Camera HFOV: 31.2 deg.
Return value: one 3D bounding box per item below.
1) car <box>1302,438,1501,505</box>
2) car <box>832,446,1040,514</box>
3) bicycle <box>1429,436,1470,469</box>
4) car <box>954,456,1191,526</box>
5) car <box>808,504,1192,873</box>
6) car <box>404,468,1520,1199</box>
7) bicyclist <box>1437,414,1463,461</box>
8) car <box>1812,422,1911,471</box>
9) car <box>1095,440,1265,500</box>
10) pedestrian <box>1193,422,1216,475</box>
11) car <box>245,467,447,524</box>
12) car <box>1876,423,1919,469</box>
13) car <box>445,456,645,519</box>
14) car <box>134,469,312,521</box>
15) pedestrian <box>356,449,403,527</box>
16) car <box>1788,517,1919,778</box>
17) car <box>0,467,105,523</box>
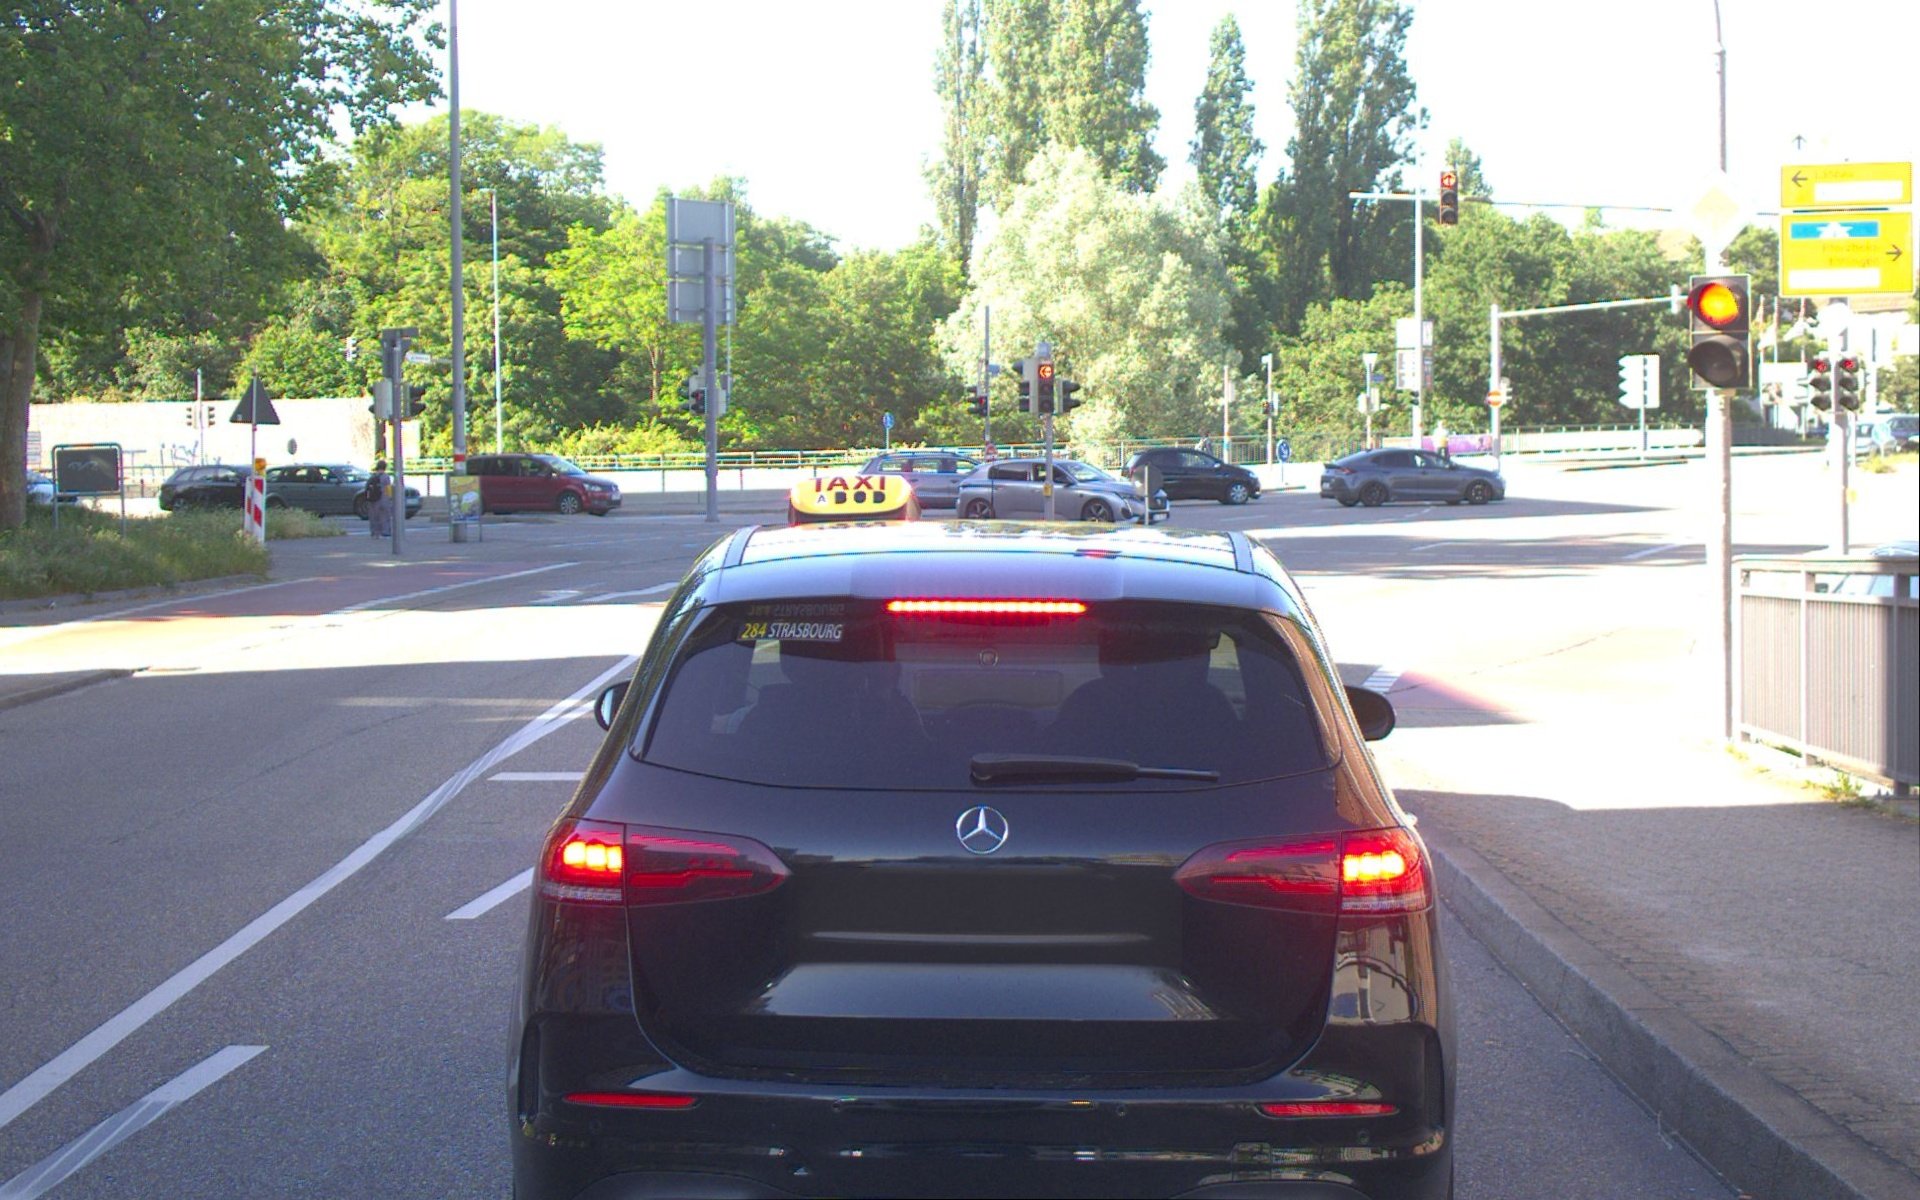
[{"bbox_3d":[10.475,-3.066,81.703,4.280,1.436,2.001,-2,3,-8],"label":"car"},{"bbox_3d":[-0.563,-2.830,80.841,4.807,1.436,2.000,-1,3,-1],"label":"car"},{"bbox_3d":[16.244,-4.905,114.081,0.526,1.046,1.986,0,3,33],"label":"bicycle"},{"bbox_3d":[2.219,-2.151,67.949,4.224,1.290,1.997,1,4,30],"label":"car"},{"bbox_3d":[0.224,0.341,16.723,1.640,1.524,3.474,-1,2,2],"label":"car"},{"bbox_3d":[-0.023,0.537,7.838,1.878,1.608,4.000,1,2,-1],"label":"car"},{"bbox_3d":[16.241,-5.399,114.051,0.526,1.545,0.805,0,3,33],"label":"bicyclist"},{"bbox_3d":[30.073,-5.112,114.659,1.882,1.573,3.992,1,3,36],"label":"car"},{"bbox_3d":[5.462,-3.244,85.655,4.064,1.352,1.788,-1,3,-1],"label":"car"},{"bbox_3d":[7.336,-4.546,103.041,0.451,1.580,0.500,1,3,40],"label":"pedestrian"},{"bbox_3d":[-14.929,-2.545,83.533,4.587,1.290,1.997,1,4,30],"label":"car"},{"bbox_3d":[33.564,-5.377,119.812,1.882,1.573,3.992,1,3,36],"label":"car"},{"bbox_3d":[-10.428,-2.821,86.473,4.541,1.450,1.999,0,4,18],"label":"car"},{"bbox_3d":[-19.424,-2.765,90.541,4.588,1.290,1.883,1,4,33],"label":"car"},{"bbox_3d":[-11.475,-2.216,67.986,0.705,1.520,0.743,1,2,10],"label":"pedestrian"},{"bbox_3d":[7.490,0.288,25.655,1.721,1.598,4.298,1,4,3],"label":"car"},{"bbox_3d":[-24.560,-2.738,89.405,4.308,1.360,1.997,1,4,31],"label":"car"}]
